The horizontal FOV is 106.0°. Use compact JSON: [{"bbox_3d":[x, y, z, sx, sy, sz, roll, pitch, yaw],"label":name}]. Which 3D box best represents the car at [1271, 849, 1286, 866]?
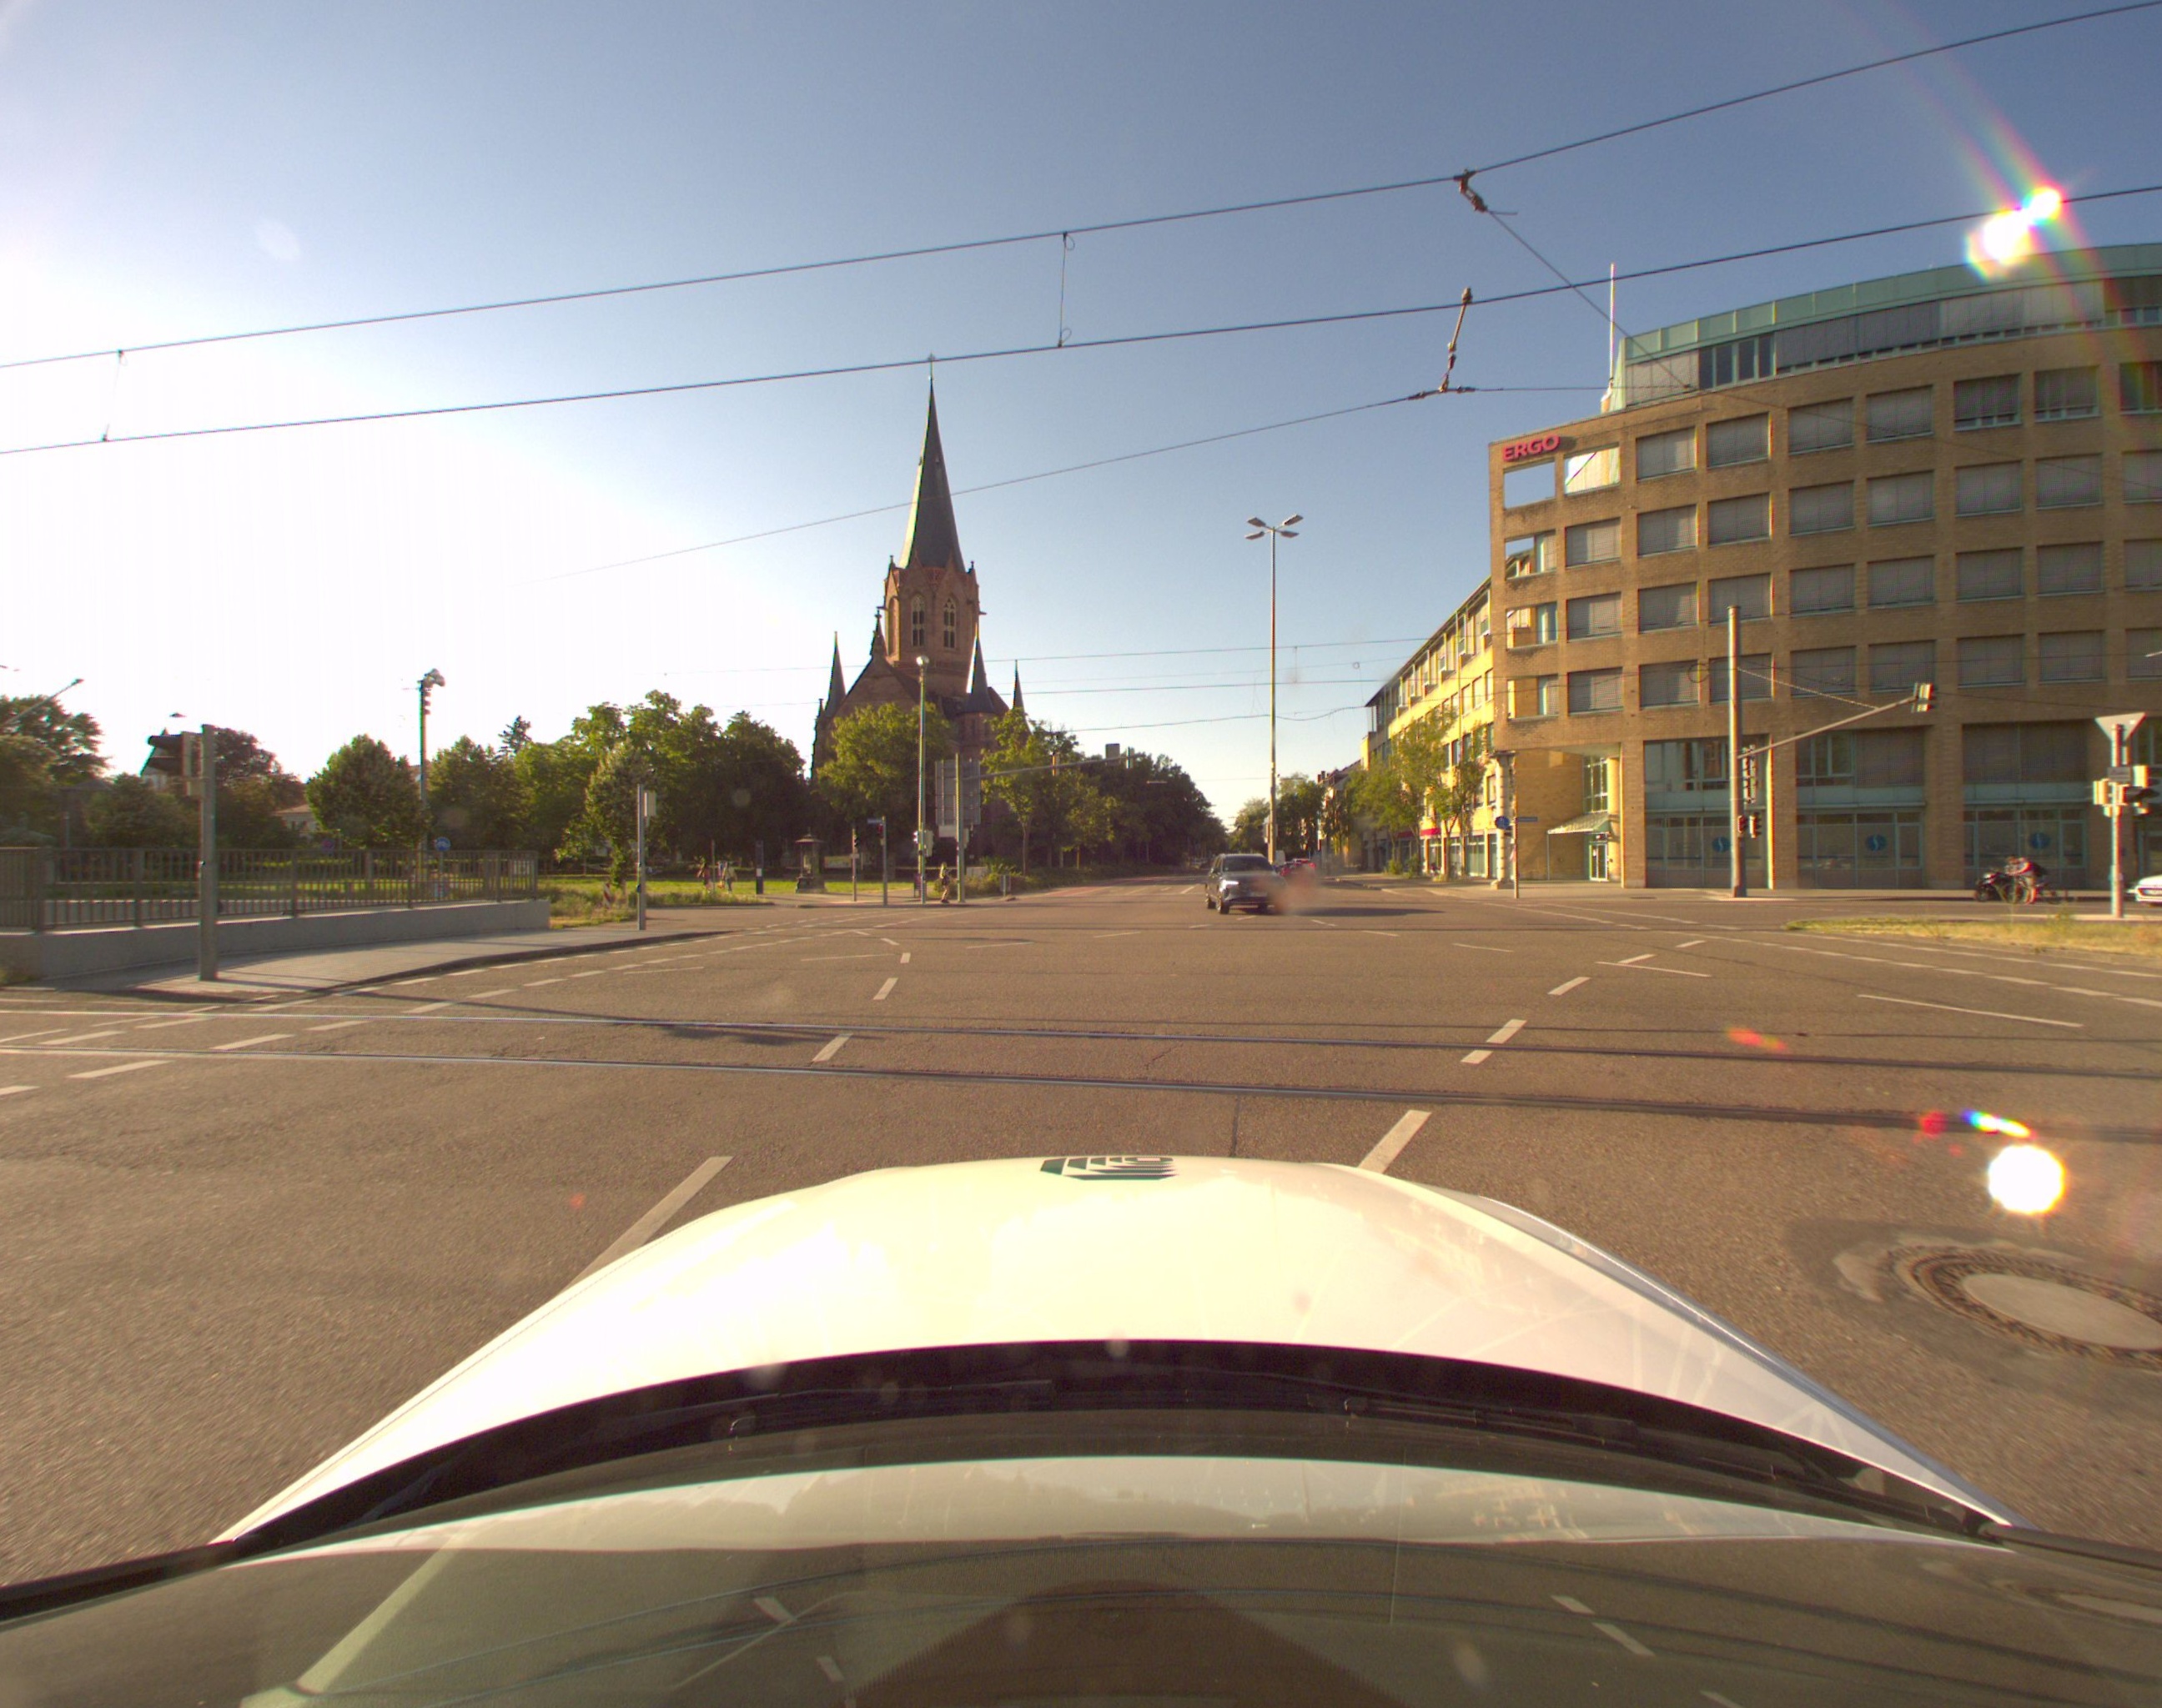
[{"bbox_3d":[28.872,0.553,118.974,1.981,2.440,4.012,1,0,11],"label":"car"}]

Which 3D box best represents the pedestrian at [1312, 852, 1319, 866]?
[{"bbox_3d":[30.128,0.598,104.534,0.842,1.803,0.778,-1,0,11],"label":"pedestrian"}]

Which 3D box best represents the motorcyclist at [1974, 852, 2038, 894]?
[{"bbox_3d":[32.457,0.665,28.602,1.059,1.435,1.035,-1,-1,10],"label":"motorcyclist"}]

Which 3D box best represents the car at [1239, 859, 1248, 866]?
[{"bbox_3d":[28.880,1.515,144.642,1.584,1.267,3.276,-1,0,11],"label":"car"}]

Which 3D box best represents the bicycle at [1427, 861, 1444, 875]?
[{"bbox_3d":[25.552,1.024,58.784,0.642,0.994,2.087,-1,0,10],"label":"bicycle"}]

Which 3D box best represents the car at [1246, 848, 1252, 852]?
[{"bbox_3d":[47.215,-1.155,228.422,1.584,1.267,3.276,-1,0,11],"label":"car"}]

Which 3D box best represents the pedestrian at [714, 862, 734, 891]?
[{"bbox_3d":[-21.289,1.347,48.555,1.018,1.696,0.837,1,0,-26],"label":"pedestrian"}]

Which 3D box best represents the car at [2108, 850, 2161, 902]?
[{"bbox_3d":[33.008,0.614,23.377,4.138,1.492,2.000,-1,-1,8],"label":"car"}]

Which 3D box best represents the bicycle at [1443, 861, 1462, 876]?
[{"bbox_3d":[24.659,0.959,54.108,0.642,0.994,2.087,-1,0,10],"label":"bicycle"}]

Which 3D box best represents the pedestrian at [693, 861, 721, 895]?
[{"bbox_3d":[-19.260,1.232,41.959,1.004,1.696,0.850,0,0,31],"label":"pedestrian"}]

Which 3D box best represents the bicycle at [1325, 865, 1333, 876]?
[{"bbox_3d":[23.273,1.564,76.452,0.588,0.943,1.984,1,1,11],"label":"bicycle"}]

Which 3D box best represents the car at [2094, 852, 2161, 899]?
[{"bbox_3d":[38.142,0.695,27.644,4.453,1.537,1.992,-1,-1,11],"label":"car"}]

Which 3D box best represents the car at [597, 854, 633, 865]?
[{"bbox_3d":[-71.924,0.881,125.690,4.436,1.571,1.999,-1,0,-1],"label":"car"}]

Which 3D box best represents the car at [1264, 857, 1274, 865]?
[{"bbox_3d":[32.784,1.267,142.010,1.584,1.267,3.276,-1,0,11],"label":"car"}]

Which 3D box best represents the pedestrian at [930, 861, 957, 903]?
[{"bbox_3d":[-5.818,1.167,34.478,0.804,1.739,0.971,-1,-1,12],"label":"pedestrian"}]

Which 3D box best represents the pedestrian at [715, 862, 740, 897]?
[{"bbox_3d":[-17.657,1.265,40.685,0.884,1.696,0.715,0,0,31],"label":"pedestrian"}]

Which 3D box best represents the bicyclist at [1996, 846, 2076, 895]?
[{"bbox_3d":[31.038,0.532,26.500,1.215,1.571,1.157,-1,0,9],"label":"bicyclist"}]

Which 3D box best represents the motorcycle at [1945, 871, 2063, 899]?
[{"bbox_3d":[32.383,1.083,28.610,2.701,0.964,1.034,-1,0,9],"label":"motorcycle"}]

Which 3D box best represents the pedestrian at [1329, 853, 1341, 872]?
[{"bbox_3d":[26.992,0.942,86.505,1.100,1.976,1.165,-1,-1,10],"label":"pedestrian"}]

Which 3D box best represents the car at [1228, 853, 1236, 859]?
[{"bbox_3d":[41.780,0.525,225.221,1.874,1.671,4.012,1,0,11],"label":"car"}]

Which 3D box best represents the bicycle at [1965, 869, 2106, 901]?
[{"bbox_3d":[30.999,1.005,26.514,2.943,1.000,1.157,-1,0,9],"label":"bicycle"}]

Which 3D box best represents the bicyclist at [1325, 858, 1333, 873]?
[{"bbox_3d":[23.276,1.031,76.431,0.588,1.369,0.933,1,1,11],"label":"bicyclist"}]

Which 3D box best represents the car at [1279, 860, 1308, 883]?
[{"bbox_3d":[14.598,1.190,56.075,1.659,1.462,4.012,1,0,11],"label":"car"}]

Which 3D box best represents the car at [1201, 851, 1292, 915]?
[{"bbox_3d":[4.921,0.835,24.908,1.985,1.724,5.034,-1,-1,3],"label":"car"}]

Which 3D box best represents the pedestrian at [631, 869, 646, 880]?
[{"bbox_3d":[-40.078,1.843,73.775,0.802,0.953,1.170,1,0,-10],"label":"pedestrian"}]

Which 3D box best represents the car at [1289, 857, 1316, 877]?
[{"bbox_3d":[18.893,1.102,69.492,1.904,1.607,4.282,1,0,11],"label":"car"}]
